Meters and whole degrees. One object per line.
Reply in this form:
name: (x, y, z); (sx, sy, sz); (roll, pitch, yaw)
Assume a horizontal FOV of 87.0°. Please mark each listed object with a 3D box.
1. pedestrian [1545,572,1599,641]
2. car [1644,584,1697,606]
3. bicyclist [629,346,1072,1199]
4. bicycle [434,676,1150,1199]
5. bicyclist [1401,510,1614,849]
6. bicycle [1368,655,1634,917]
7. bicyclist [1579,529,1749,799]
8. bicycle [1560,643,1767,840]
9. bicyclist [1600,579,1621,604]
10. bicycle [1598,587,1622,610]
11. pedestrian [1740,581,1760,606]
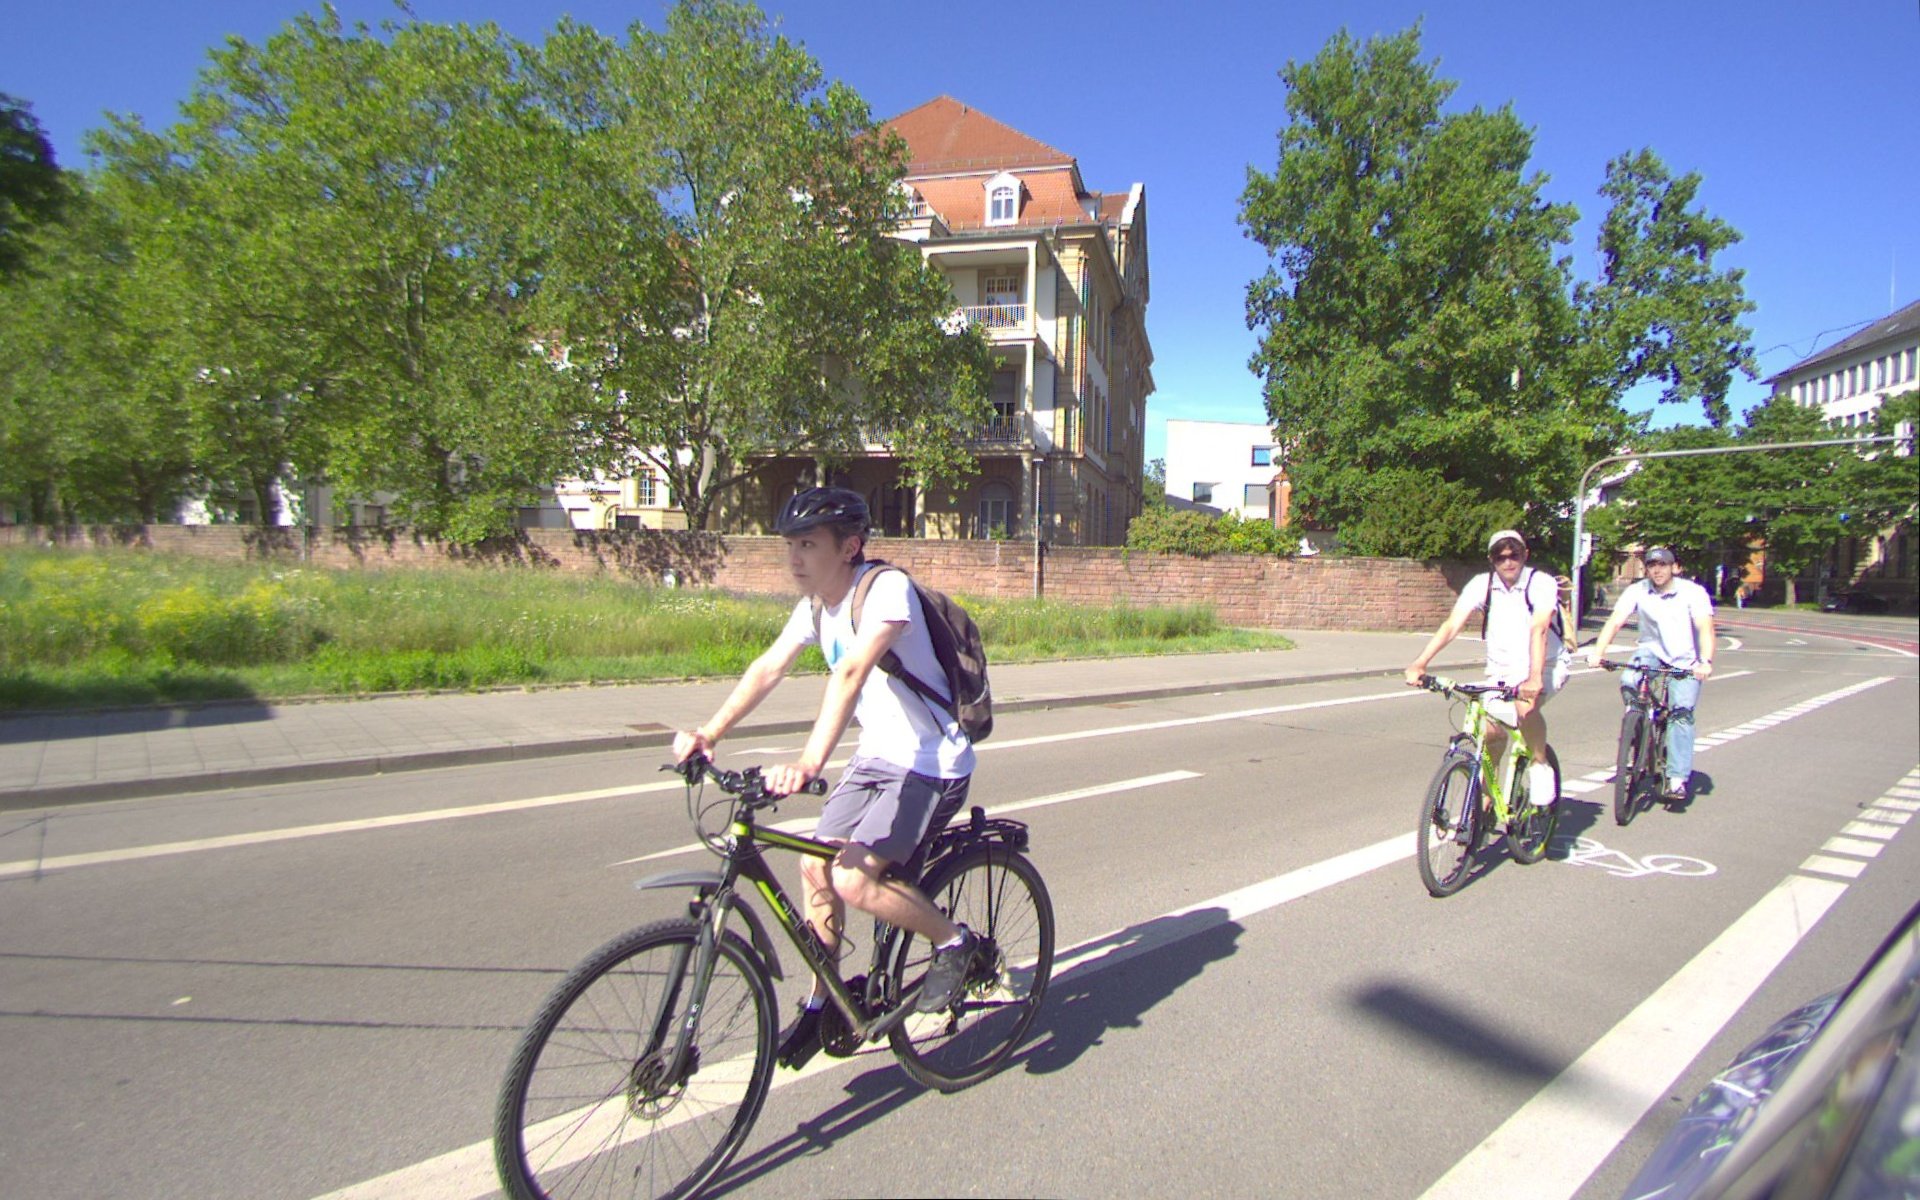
pedestrian: (17.176, 0.181, 28.412); (0.942, 1.872, 0.733); (2, 2, -8)
car: (54.102, -0.391, 77.121); (1.822, 1.504, 4.149); (2, 2, 14)
bicyclist: (-0.271, 0.378, 2.630); (0.923, 1.808, 0.677); (0, 0, -42)
bicycle: (-0.307, 0.851, 2.636); (1.795, 1.152, 0.616); (0, 1, -42)
bicyclist: (2.930, 0.372, 5.394); (1.062, 1.603, 0.675); (0, 0, -41)
bicycle: (2.926, 0.876, 5.386); (1.812, 1.064, 0.672); (0, 0, -42)
bicyclist: (4.798, 0.384, 6.897); (0.851, 1.695, 0.741); (0, 2, -42)
bicycle: (4.904, 0.894, 7.004); (1.870, 1.063, 0.749); (0, 2, -42)
bicyclist: (41.740, -0.540, 64.969); (0.859, 1.579, 1.271); (2, 2, 21)
bicycle: (41.689, -0.095, 64.897); (0.753, 1.385, 2.718); (2, 2, 22)
pedestrian: (60.444, -0.518, 77.399); (0.745, 1.835, 0.978); (1, 1, 9)
